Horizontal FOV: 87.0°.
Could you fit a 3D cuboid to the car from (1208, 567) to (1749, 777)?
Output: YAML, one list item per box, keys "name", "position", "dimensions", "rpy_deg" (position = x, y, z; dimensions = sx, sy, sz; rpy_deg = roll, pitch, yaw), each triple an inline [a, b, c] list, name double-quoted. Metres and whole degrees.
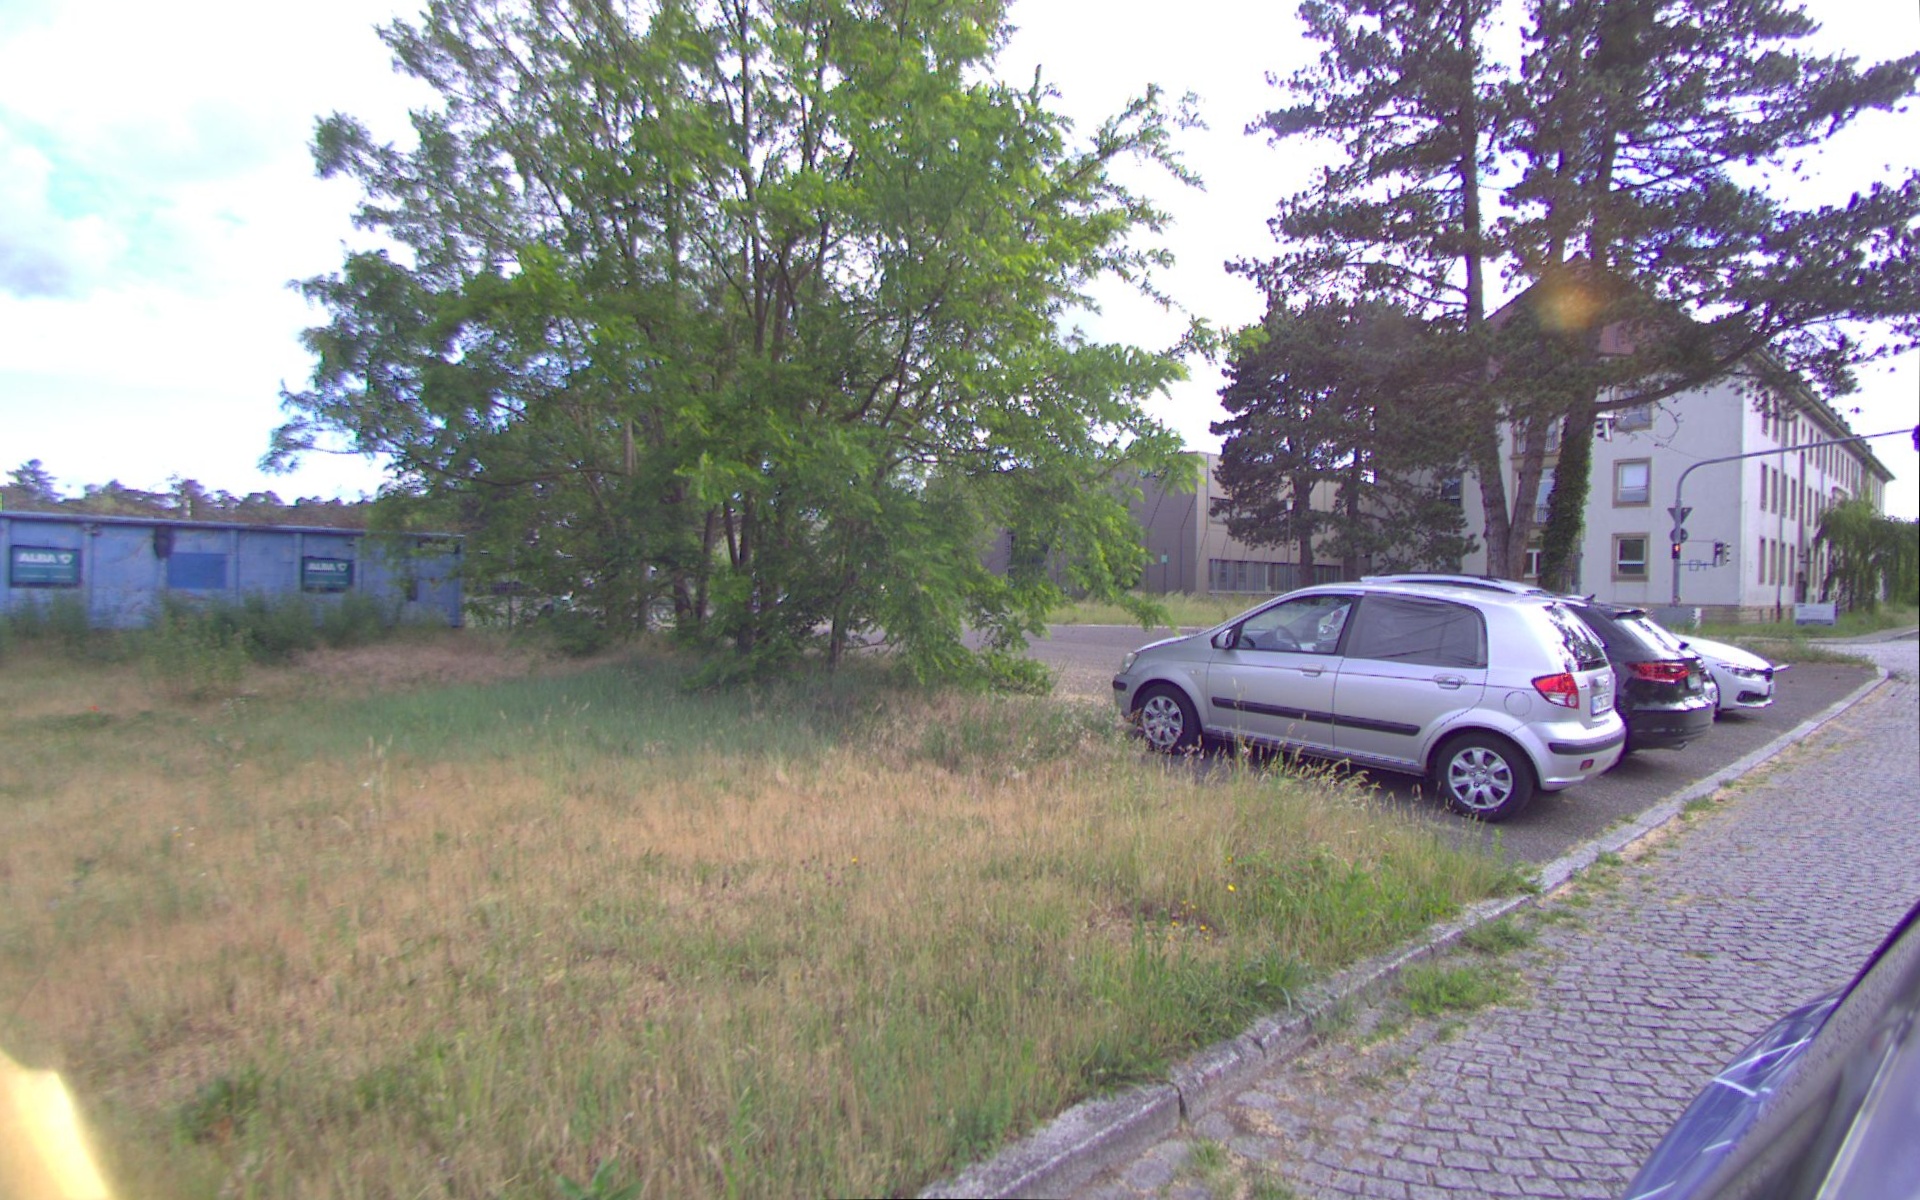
- name: "car"
  position: [4.849, 0.512, 9.982]
  dimensions: [1.766, 1.423, 4.372]
  rpy_deg: [1, 3, -44]

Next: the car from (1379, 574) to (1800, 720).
- name: "car"
  position: [8.378, 0.488, 13.796]
  dimensions: [4.553, 1.442, 1.798]
  rpy_deg: [5, 4, 45]

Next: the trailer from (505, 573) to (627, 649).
- name: "trailer"
  position: [-6.686, 0.161, 17.091]
  dimensions: [1.125, 1.184, 2.314]
  rpy_deg: [-1, 1, -44]

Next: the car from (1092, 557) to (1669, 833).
- name: "car"
  position: [3.095, 0.517, 7.960]
  dimensions: [1.714, 1.498, 3.775]
  rpy_deg: [1, 3, -45]

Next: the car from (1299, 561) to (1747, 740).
- name: "car"
  position: [6.527, 0.425, 12.066]
  dimensions: [4.330, 1.593, 1.799]
  rpy_deg: [5, 4, 43]
